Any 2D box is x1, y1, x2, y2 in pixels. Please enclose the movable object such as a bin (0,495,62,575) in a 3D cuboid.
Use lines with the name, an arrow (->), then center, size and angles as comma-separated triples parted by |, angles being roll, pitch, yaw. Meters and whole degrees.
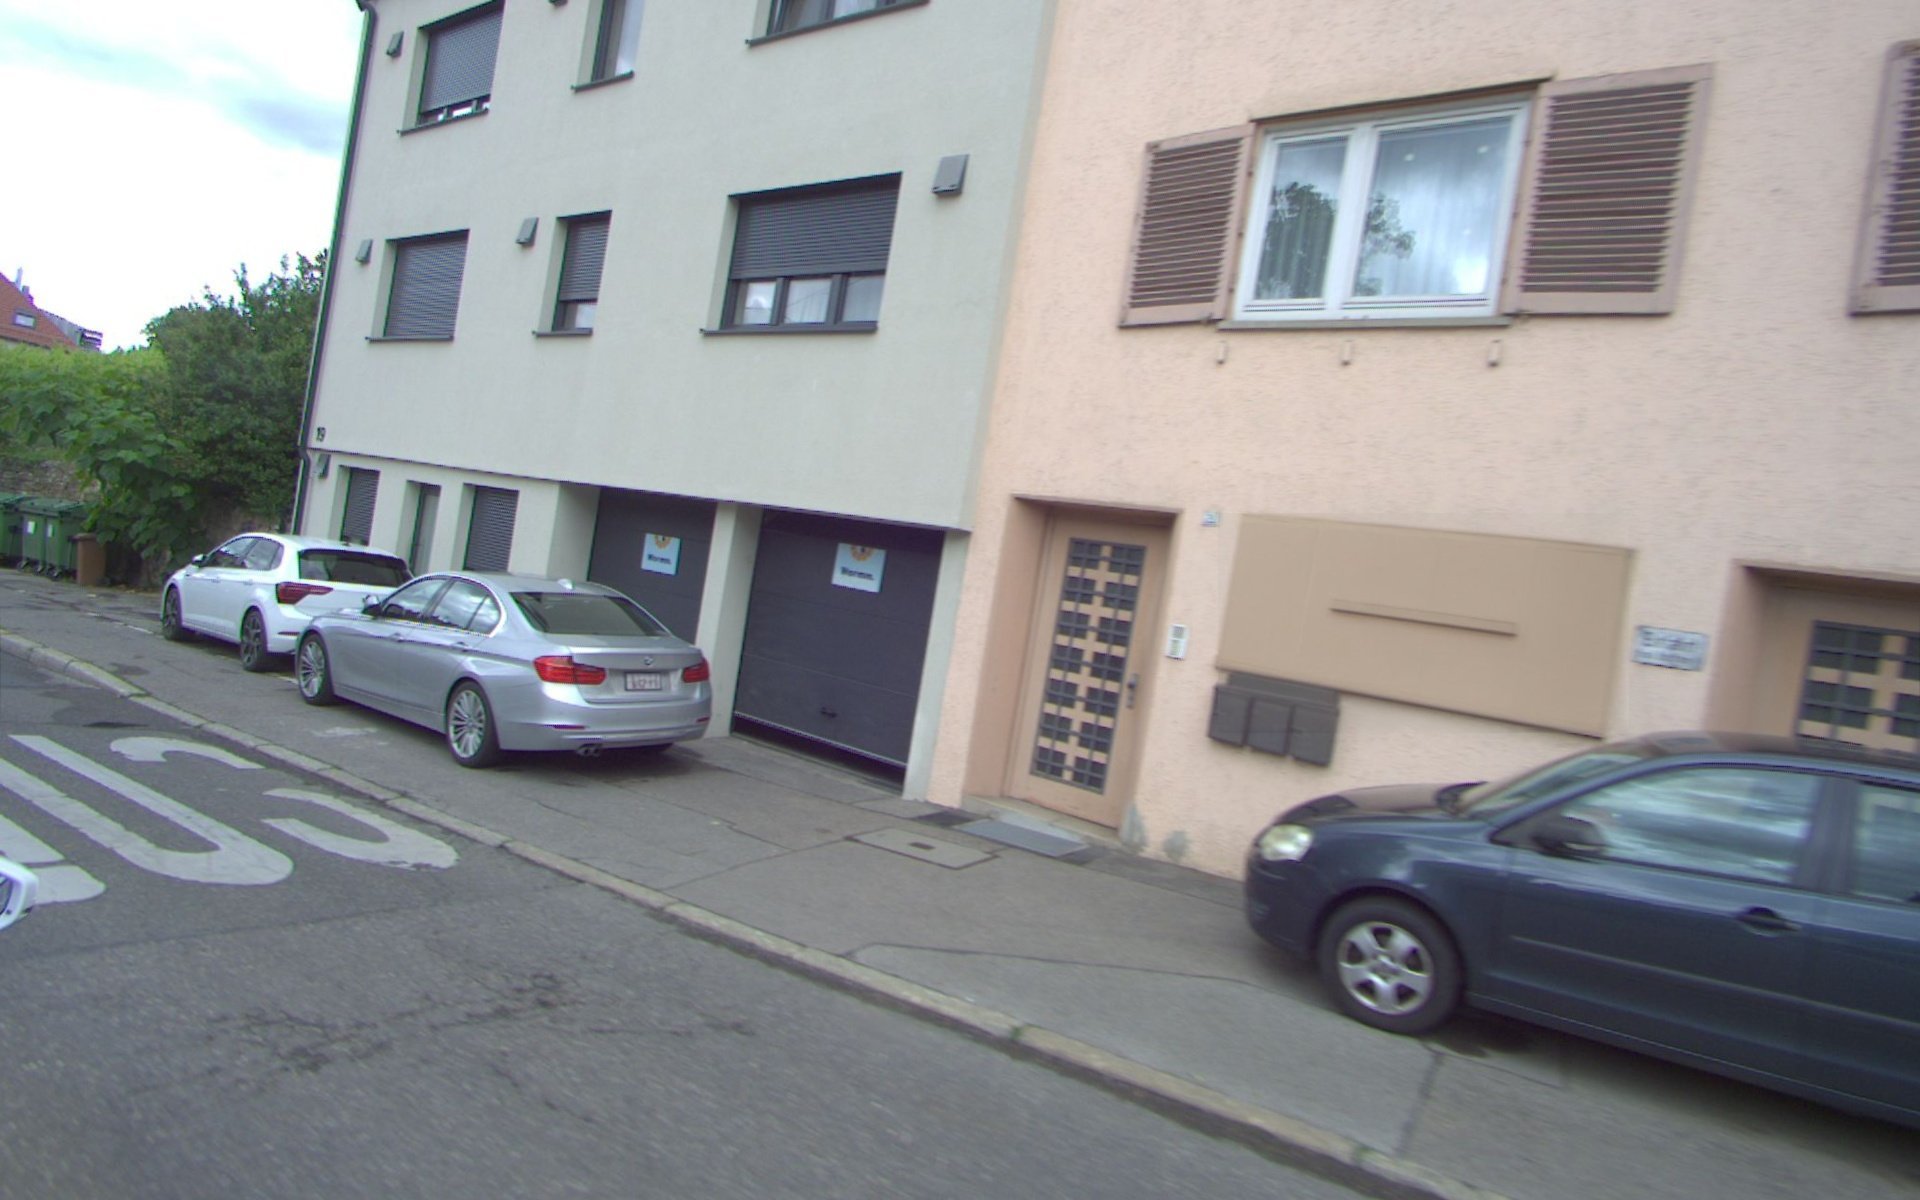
movable object such as a bin -> -18.999, -1.335, 19.974 | 1.392, 1.462, 1.051 | 7, -1, 17

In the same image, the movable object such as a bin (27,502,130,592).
movable object such as a bin -> -16.339, -0.987, 18.656 | 1.185, 1.462, 1.049 | 7, -1, 33

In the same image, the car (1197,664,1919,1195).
car -> 3.298, 1.287, 4.483 | 3.934, 1.470, 1.681 | 6, 2, 32

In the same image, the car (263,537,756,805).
car -> -4.115, 0.435, 8.828 | 4.644, 1.470, 1.793 | 8, 3, 36

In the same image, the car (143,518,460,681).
car -> -7.911, -0.037, 11.976 | 3.942, 1.441, 1.794 | 7, 0, 36

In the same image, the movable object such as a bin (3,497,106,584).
movable object such as a bin -> -17.451, -1.140, 19.389 | 1.185, 1.462, 1.049 | 7, -1, 30

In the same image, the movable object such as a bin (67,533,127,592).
movable object such as a bin -> -15.558, -0.681, 18.136 | 0.630, 0.953, 0.595 | 7, -1, 33
